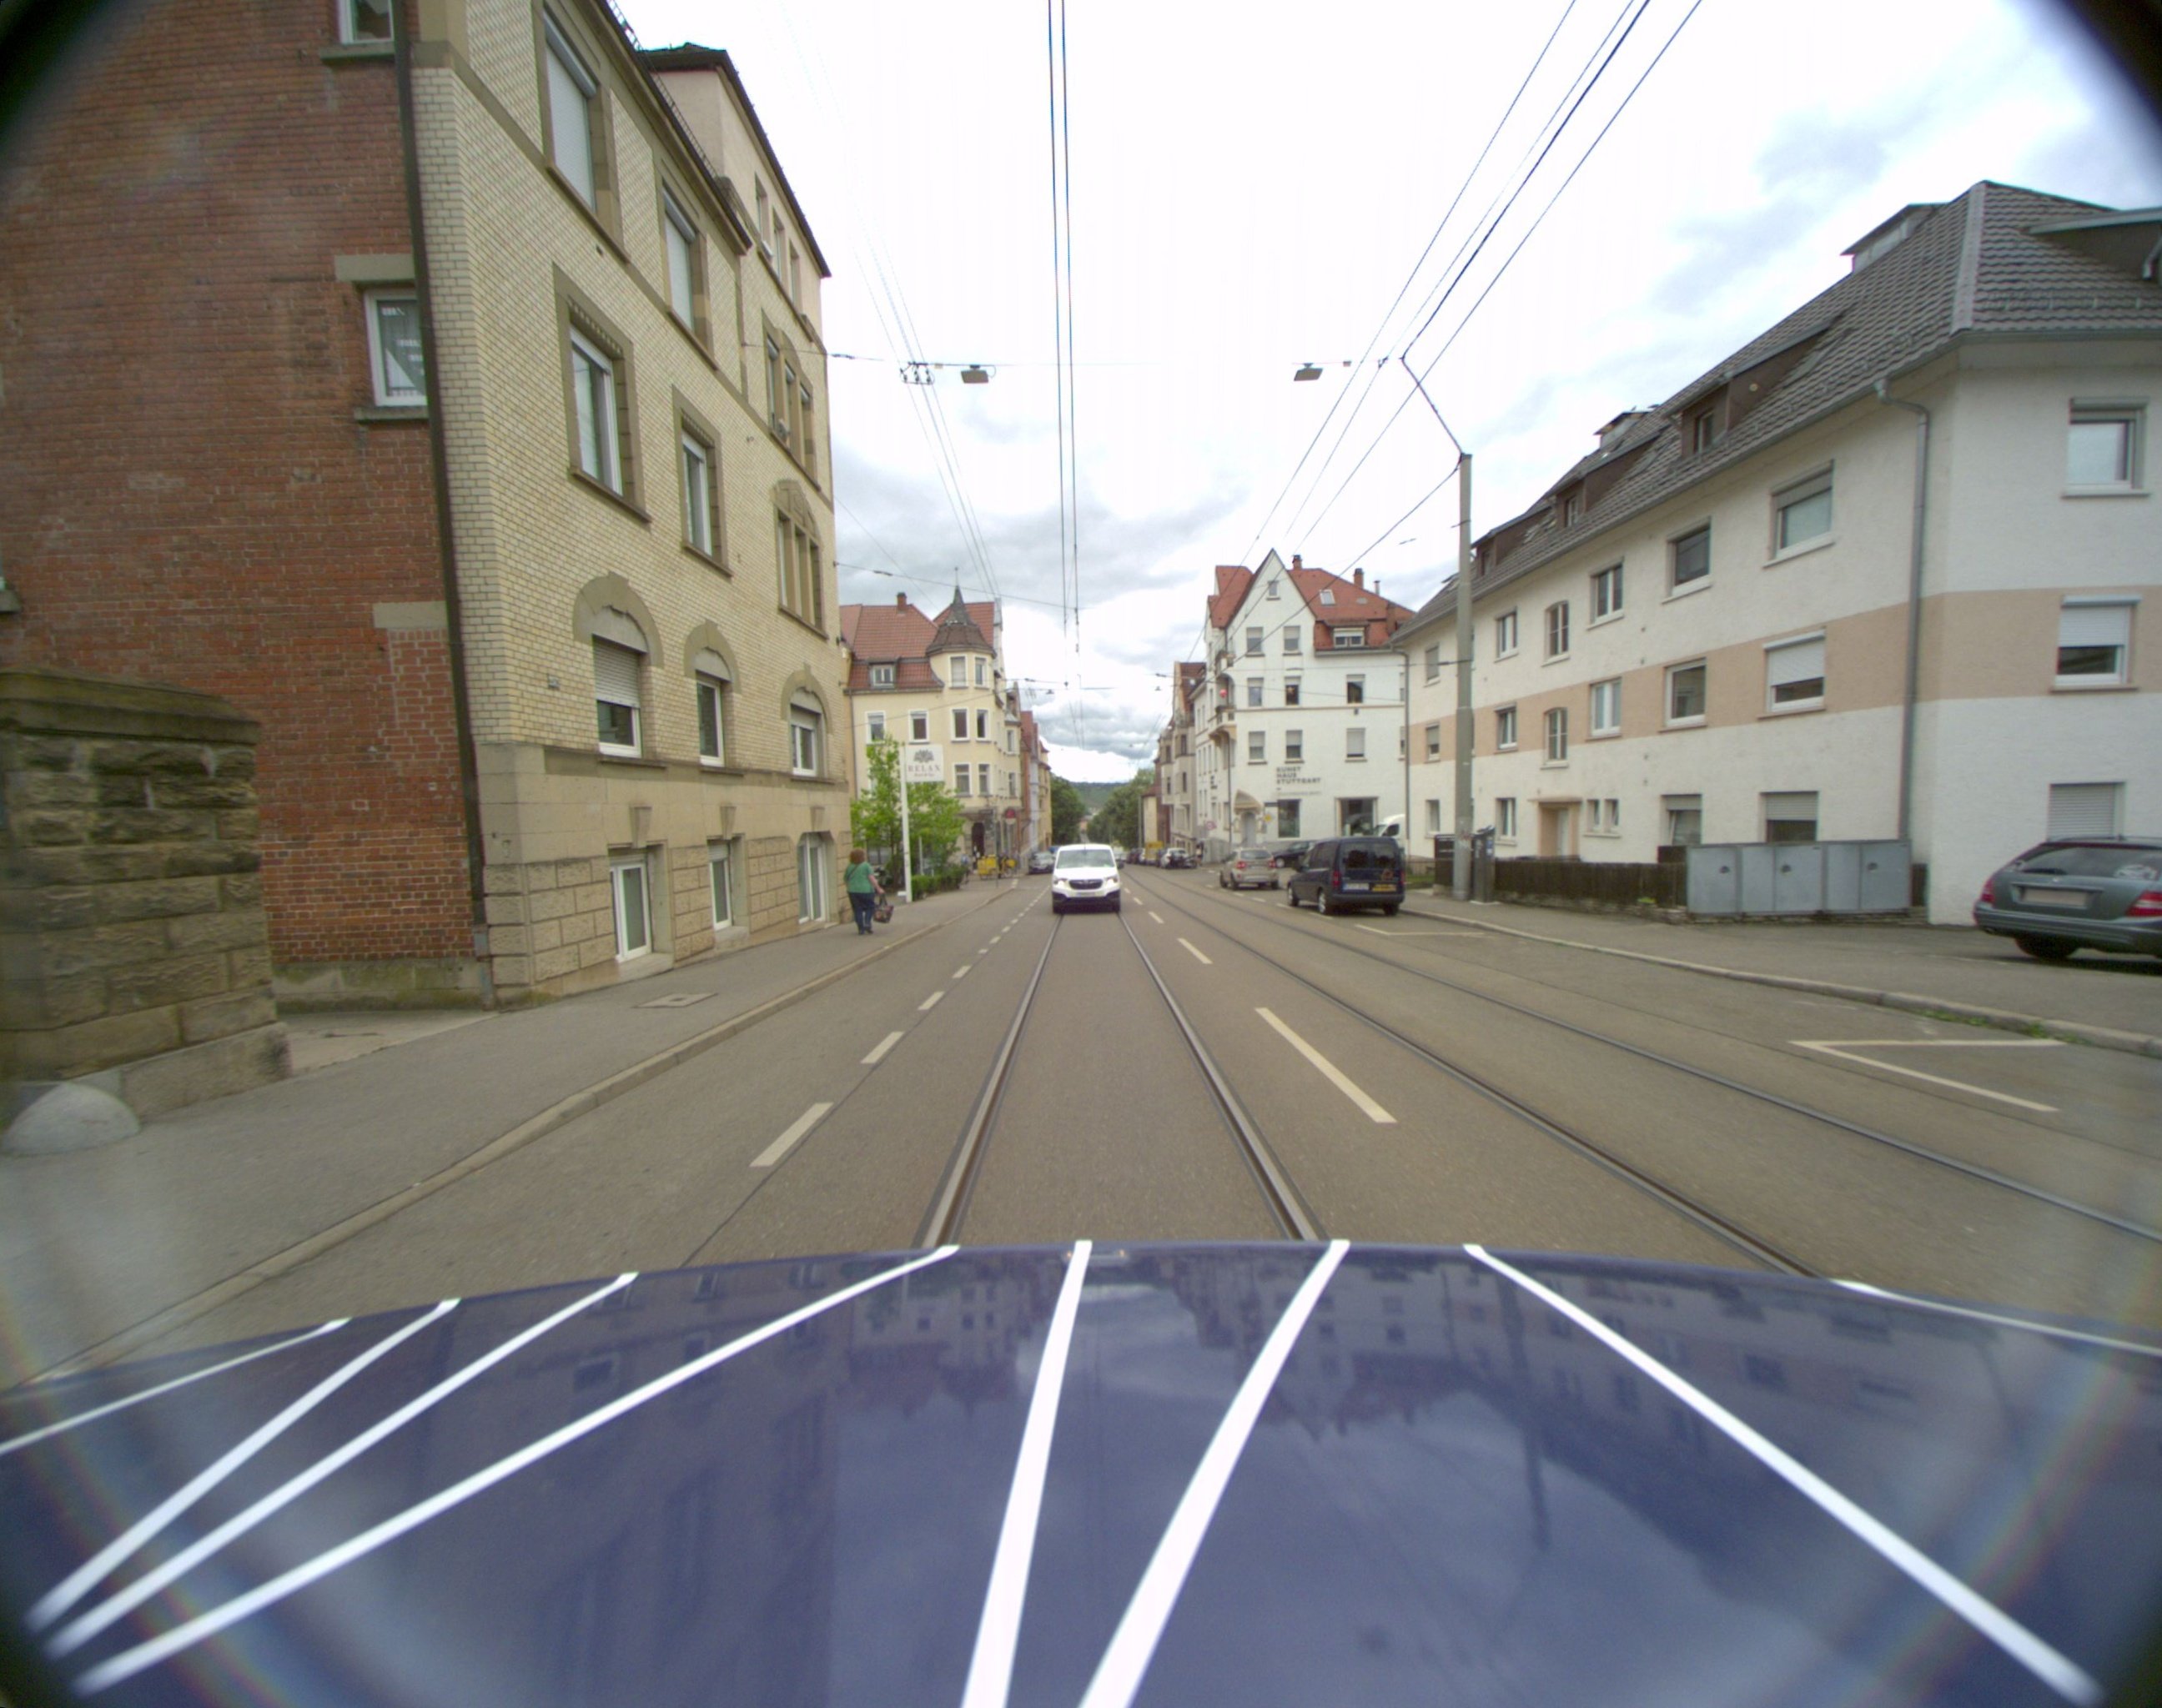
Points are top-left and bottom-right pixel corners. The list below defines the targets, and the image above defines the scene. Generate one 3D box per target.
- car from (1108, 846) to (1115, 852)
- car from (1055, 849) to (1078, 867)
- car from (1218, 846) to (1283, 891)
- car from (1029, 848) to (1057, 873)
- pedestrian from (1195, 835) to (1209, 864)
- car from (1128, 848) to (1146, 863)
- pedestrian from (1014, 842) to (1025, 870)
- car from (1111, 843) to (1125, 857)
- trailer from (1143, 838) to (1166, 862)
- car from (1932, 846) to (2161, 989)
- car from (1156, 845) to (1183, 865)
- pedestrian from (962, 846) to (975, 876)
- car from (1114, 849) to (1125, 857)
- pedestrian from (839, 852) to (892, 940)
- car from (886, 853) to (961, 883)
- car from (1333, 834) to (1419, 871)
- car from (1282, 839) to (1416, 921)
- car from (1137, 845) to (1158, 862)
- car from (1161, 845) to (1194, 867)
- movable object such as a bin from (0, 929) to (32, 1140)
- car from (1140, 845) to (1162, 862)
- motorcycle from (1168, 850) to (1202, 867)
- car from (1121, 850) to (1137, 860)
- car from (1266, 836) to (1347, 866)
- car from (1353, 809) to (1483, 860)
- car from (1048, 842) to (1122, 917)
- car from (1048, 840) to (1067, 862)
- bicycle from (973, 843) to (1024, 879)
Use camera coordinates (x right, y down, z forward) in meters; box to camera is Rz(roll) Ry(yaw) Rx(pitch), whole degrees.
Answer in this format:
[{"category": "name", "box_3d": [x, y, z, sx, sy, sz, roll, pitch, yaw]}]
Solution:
[{"category": "car", "box_3d": [8.580, -1.433, 214.987, 1.856, 1.532, 3.948, -2, 0, 0]}, {"category": "car", "box_3d": [-1.210, 0.301, 64.638, 1.755, 1.382, 4.307, -4, 1, -1]}, {"category": "car", "box_3d": [6.420, 0.507, 29.113, 1.701, 1.547, 3.850, -2, 1, 2]}, {"category": "car", "box_3d": [-2.633, 0.419, 53.172, 1.739, 1.528, 4.573, -4, 1, -2]}, {"category": "pedestrian", "box_3d": [8.293, -0.288, 51.958, 0.590, 1.895, 0.811, -7, 1, 0]}, {"category": "car", "box_3d": [6.415, 0.195, 87.115, 1.832, 1.708, 4.913, 0, 0, 1]}, {"category": "pedestrian", "box_3d": [-4.069, 0.139, 49.991, 0.600, 1.793, 0.631, -2, 1, 0]}, {"category": "car", "box_3d": [6.755, -0.739, 139.907, 2.164, 2.591, 6.218, 1, 0, -1]}, {"category": "trailer", "box_3d": [6.642, -0.358, 68.732, 1.753, 2.143, 4.071, 0, 0, 1]}, {"category": "car", "box_3d": [12.294, 0.674, 8.080, 4.349, 1.338, 1.861, 2, 1, 0]}, {"category": "car", "box_3d": [6.602, 0.031, 57.011, 1.701, 1.460, 3.023, 0, 1, 1]}, {"category": "pedestrian", "box_3d": [-6.593, 0.414, 44.472, 0.483, 1.757, 0.493, -2, 1, 34]}, {"category": "car", "box_3d": [6.515, -0.141, 129.682, 1.723, 1.394, 4.313, 1, 0, 0]}, {"category": "pedestrian", "box_3d": [-4.190, 0.801, 14.802, 0.873, 1.676, 0.663, 0, 1, -6]}, {"category": "car", "box_3d": [-8.900, 0.785, 43.203, 3.857, 1.455, 1.580, -3, 1, -2]}, {"category": "car", "box_3d": [14.502, -0.089, 37.450, 3.523, 1.485, 1.775, -3, 6, 1]}, {"category": "car", "box_3d": [6.188, 0.523, 18.125, 1.748, 1.726, 4.519, 0, 1, 2]}, {"category": "car", "box_3d": [6.835, -0.045, 78.692, 1.878, 1.654, 4.891, 0, 0, 1]}, {"category": "car", "box_3d": [6.568, 0.124, 52.045, 1.784, 1.349, 4.291, -2, 1, 2]}, {"category": "movable object such as a bin", "box_3d": [-6.658, 1.071, 4.240, 0.696, 1.211, 0.605, -2, 1, 0]}, {"category": "car", "box_3d": [6.692, -0.012, 72.895, 1.701, 1.584, 4.268, 0, 0, 1]}, {"category": "motorcycle", "box_3d": [6.718, 0.287, 48.995, 2.111, 1.127, 0.767, 0, 1, 14]}, {"category": "car", "box_3d": [7.044, 0.166, 111.712, 1.832, 1.420, 4.626, 2, 0, -2]}, {"category": "car", "box_3d": [12.658, -0.199, 42.818, 3.997, 1.455, 1.754, -3, 1, 2]}, {"category": "car", "box_3d": [18.761, -1.081, 42.535, 6.207, 2.517, 2.191, -3, 1, 2]}, {"category": "car", "box_3d": [0.164, 0.615, 21.078, 1.759, 1.824, 4.448, -2, 1, 2]}, {"category": "car", "box_3d": [-2.645, -0.403, 86.786, 1.998, 2.363, 5.055, -2, 1, 0]}, {"category": "bicycle", "box_3d": [-4.714, 0.385, 43.650, 1.179, 1.856, 2.733, -2, 3, 42]}]
